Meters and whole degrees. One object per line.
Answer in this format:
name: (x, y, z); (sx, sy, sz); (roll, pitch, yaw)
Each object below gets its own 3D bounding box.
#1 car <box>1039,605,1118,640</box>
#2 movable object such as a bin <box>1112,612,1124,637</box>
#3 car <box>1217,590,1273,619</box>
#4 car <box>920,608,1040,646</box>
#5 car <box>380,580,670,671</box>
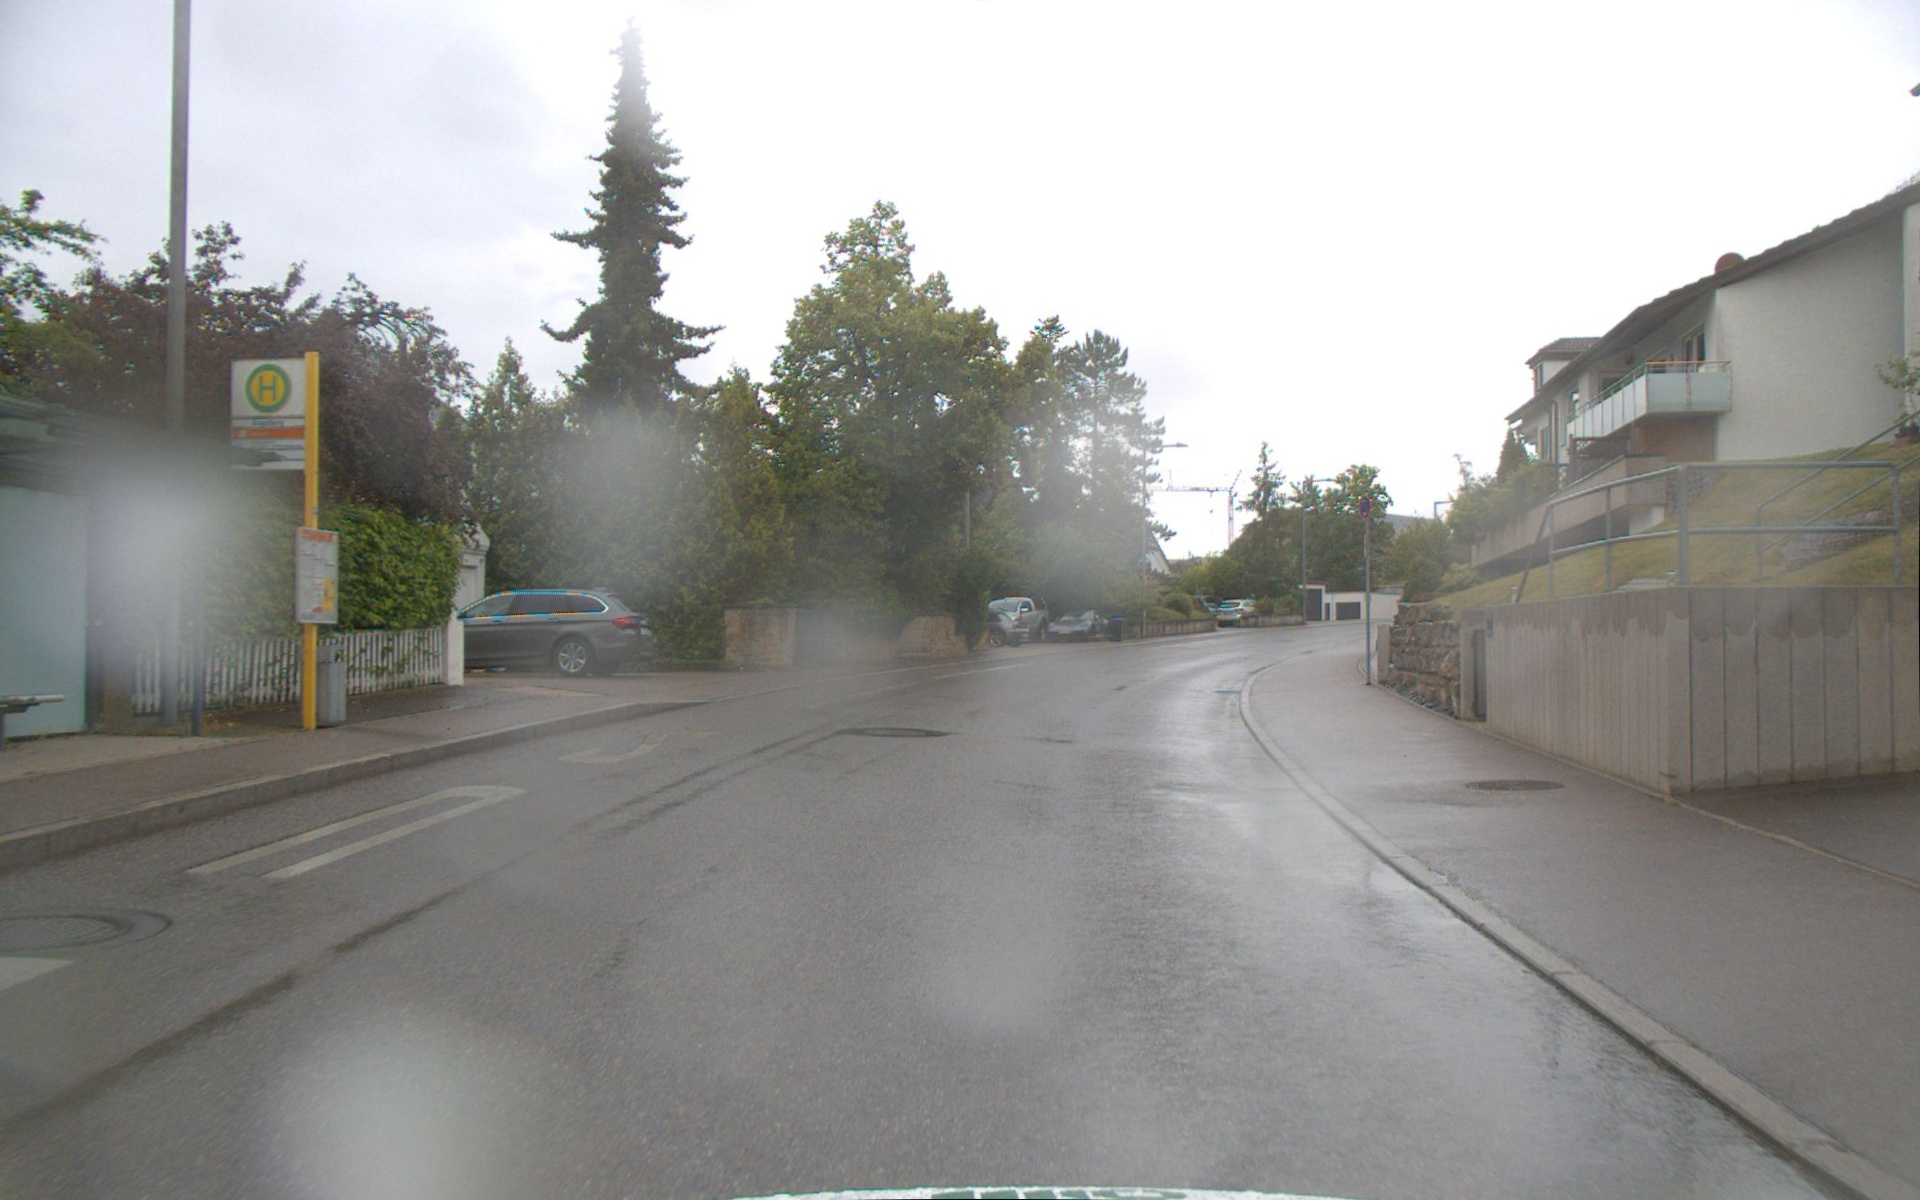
car: (4.897, 0.893, 67.631); (1.953, 1.330, 4.433); (-1, 0, 22)
movable object such as a bin: (6.332, 0.987, 66.337); (0.362, 1.005, 0.559); (-1, 0, 18)
car: (16.265, 0.229, 94.139); (1.704, 1.578, 3.989); (-1, 0, 33)
car: (0.713, 0.959, 59.316); (3.908, 1.294, 1.872); (0, 0, 25)
car: (-7.371, 0.414, 28.316); (4.445, 1.501, 1.840); (0, 0, 2)
